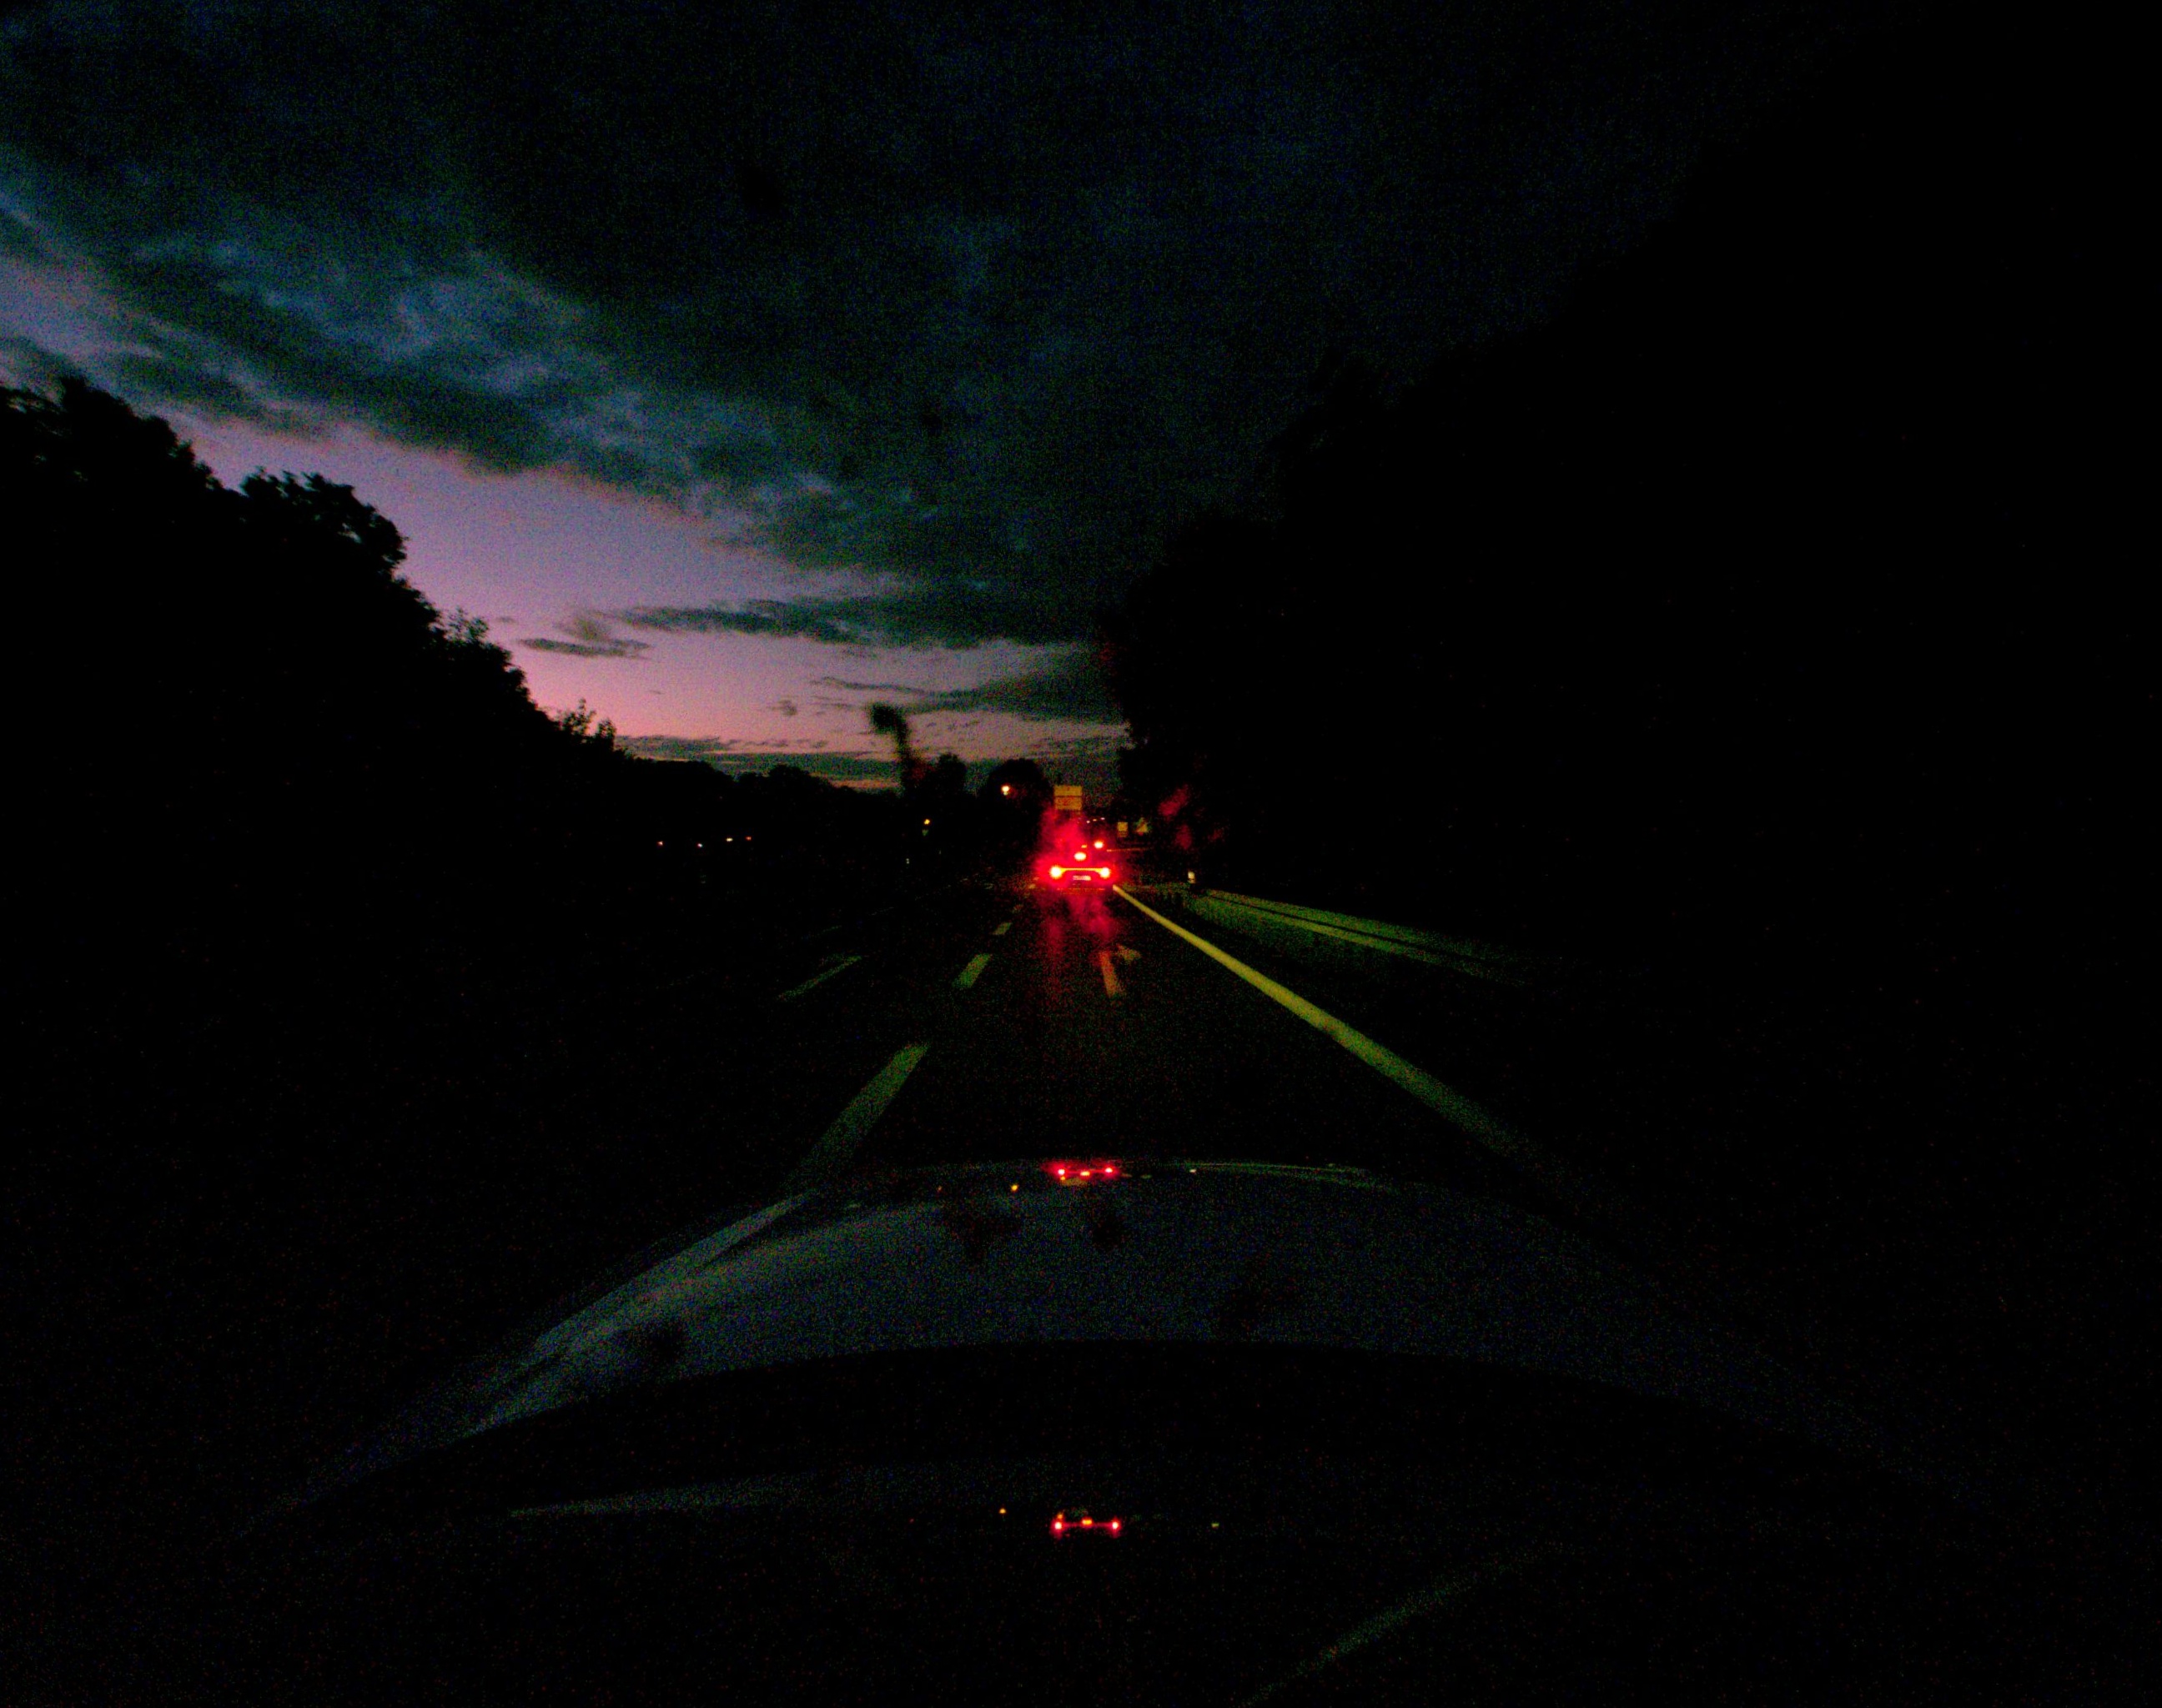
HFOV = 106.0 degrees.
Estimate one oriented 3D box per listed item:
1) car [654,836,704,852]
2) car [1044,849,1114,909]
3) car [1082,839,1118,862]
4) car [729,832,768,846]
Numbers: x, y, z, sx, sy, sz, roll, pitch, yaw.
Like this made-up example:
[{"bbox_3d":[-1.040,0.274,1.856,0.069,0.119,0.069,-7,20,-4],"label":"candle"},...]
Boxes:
[{"bbox_3d":[-38.425,-0.986,77.962,3.996,1.453,1.989,-1,1,-17],"label":"car"},{"bbox_3d":[-0.153,0.696,24.292,1.896,1.620,4.551,0,0,-3],"label":"car"},{"bbox_3d":[1.491,-0.224,62.956,1.767,1.653,4.017,0,-1,16],"label":"car"},{"bbox_3d":[-38.776,-1.759,94.997,3.995,1.453,1.989,1,0,-16],"label":"car"}]
